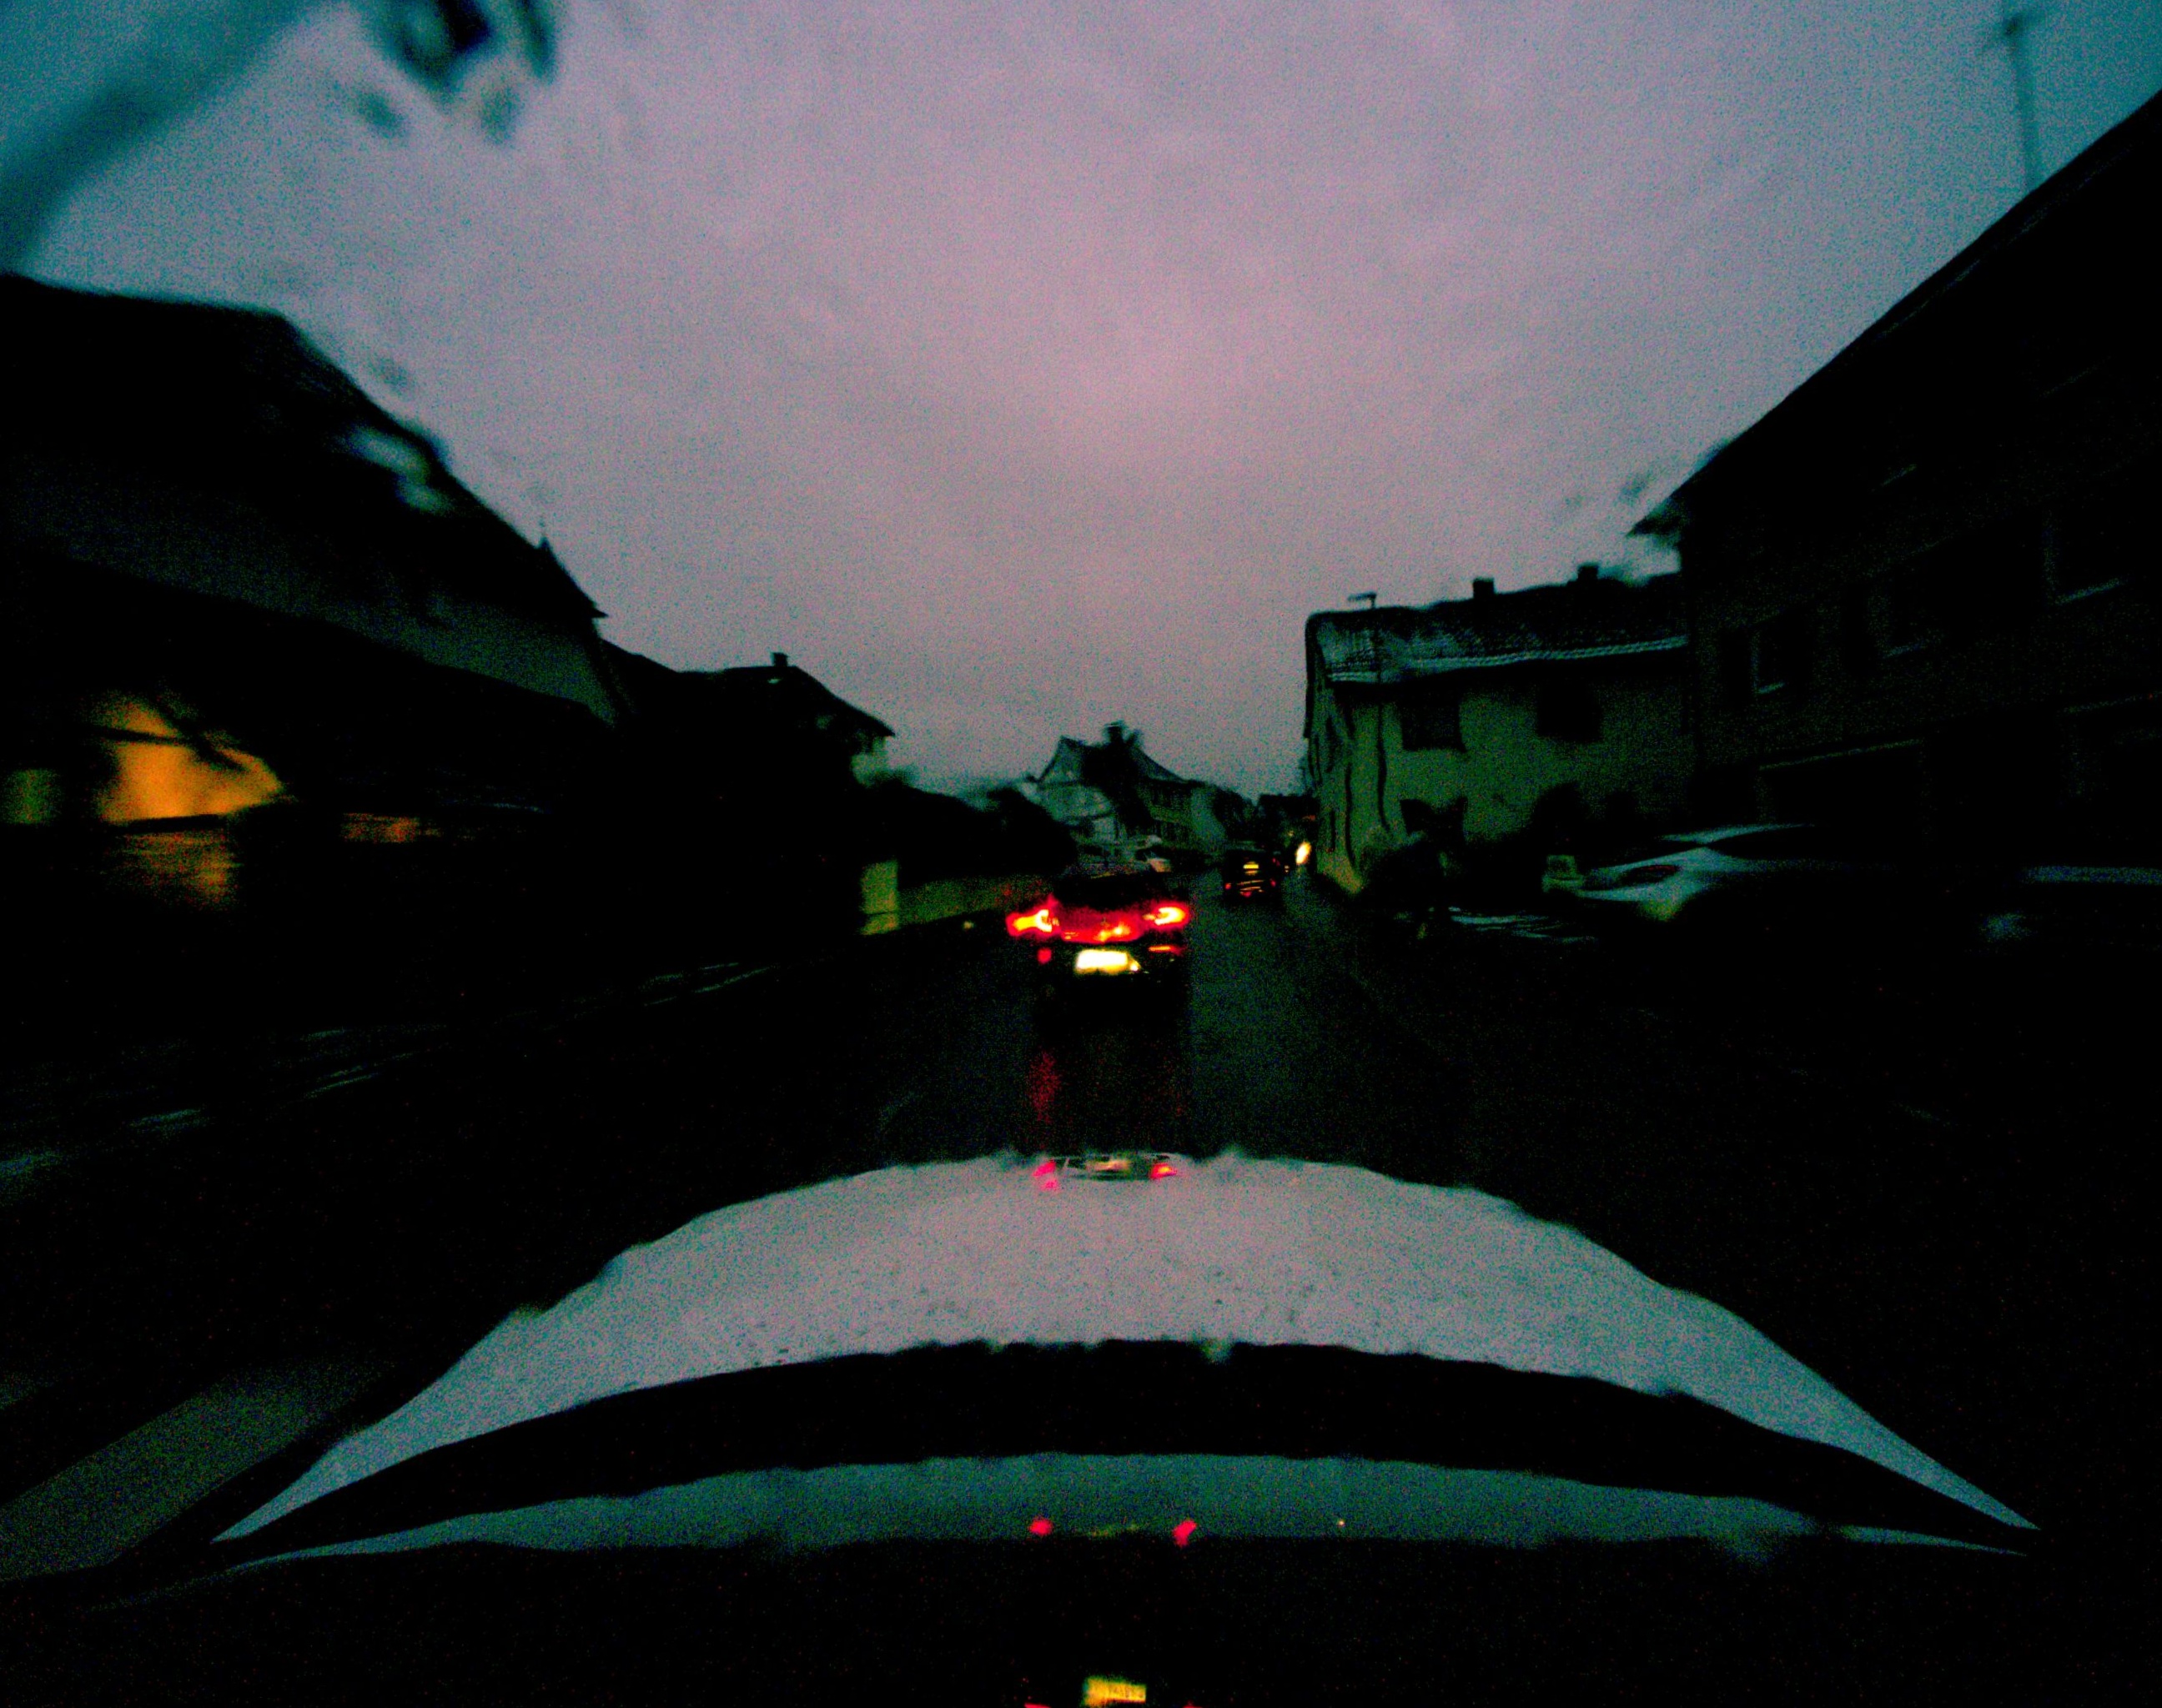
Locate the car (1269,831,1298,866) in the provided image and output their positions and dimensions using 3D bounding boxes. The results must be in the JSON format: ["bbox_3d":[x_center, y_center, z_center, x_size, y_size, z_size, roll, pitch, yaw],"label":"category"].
[{"bbox_3d":[14.839,-0.364,59.486,1.800,2.413,3.768,-2,-1,17],"label":"car"}]

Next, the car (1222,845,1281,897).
[{"bbox_3d":[5.916,0.561,28.331,1.835,1.637,4.349,-1,0,11],"label":"car"}]

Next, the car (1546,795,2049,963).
[{"bbox_3d":[7.722,0.278,9.165,3.878,1.474,1.755,-4,-1,7],"label":"car"}]

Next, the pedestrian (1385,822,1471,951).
[{"bbox_3d":[4.997,0.454,11.794,0.842,1.733,0.975,-5,-1,13],"label":"pedestrian"}]

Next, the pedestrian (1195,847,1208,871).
[{"bbox_3d":[10.218,0.448,68.980,0.867,2.014,0.798,-2,-1,15],"label":"pedestrian"}]

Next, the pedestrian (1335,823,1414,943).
[{"bbox_3d":[4.375,0.416,12.204,0.861,1.667,0.995,-5,-1,13],"label":"pedestrian"}]

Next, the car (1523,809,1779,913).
[{"bbox_3d":[9.691,0.124,14.059,3.200,1.474,1.590,-4,-1,5],"label":"car"}]

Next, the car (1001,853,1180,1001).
[{"bbox_3d":[0.242,0.746,10.237,1.787,1.476,4.005,-1,0,4],"label":"car"}]

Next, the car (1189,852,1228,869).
[{"bbox_3d":[12.654,0.634,80.826,3.477,1.507,1.701,-2,-1,22],"label":"car"}]

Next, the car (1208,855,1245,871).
[{"bbox_3d":[14.847,0.947,82.946,3.480,1.507,1.699,-2,-1,16],"label":"car"}]

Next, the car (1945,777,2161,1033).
[{"bbox_3d":[7.770,0.199,4.989,3.047,1.474,1.553,-4,-1,7],"label":"car"}]

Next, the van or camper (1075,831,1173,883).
[{"bbox_3d":[2.963,0.197,55.750,6.009,2.955,2.418,-6,-2,20],"label":"van or camper"}]
